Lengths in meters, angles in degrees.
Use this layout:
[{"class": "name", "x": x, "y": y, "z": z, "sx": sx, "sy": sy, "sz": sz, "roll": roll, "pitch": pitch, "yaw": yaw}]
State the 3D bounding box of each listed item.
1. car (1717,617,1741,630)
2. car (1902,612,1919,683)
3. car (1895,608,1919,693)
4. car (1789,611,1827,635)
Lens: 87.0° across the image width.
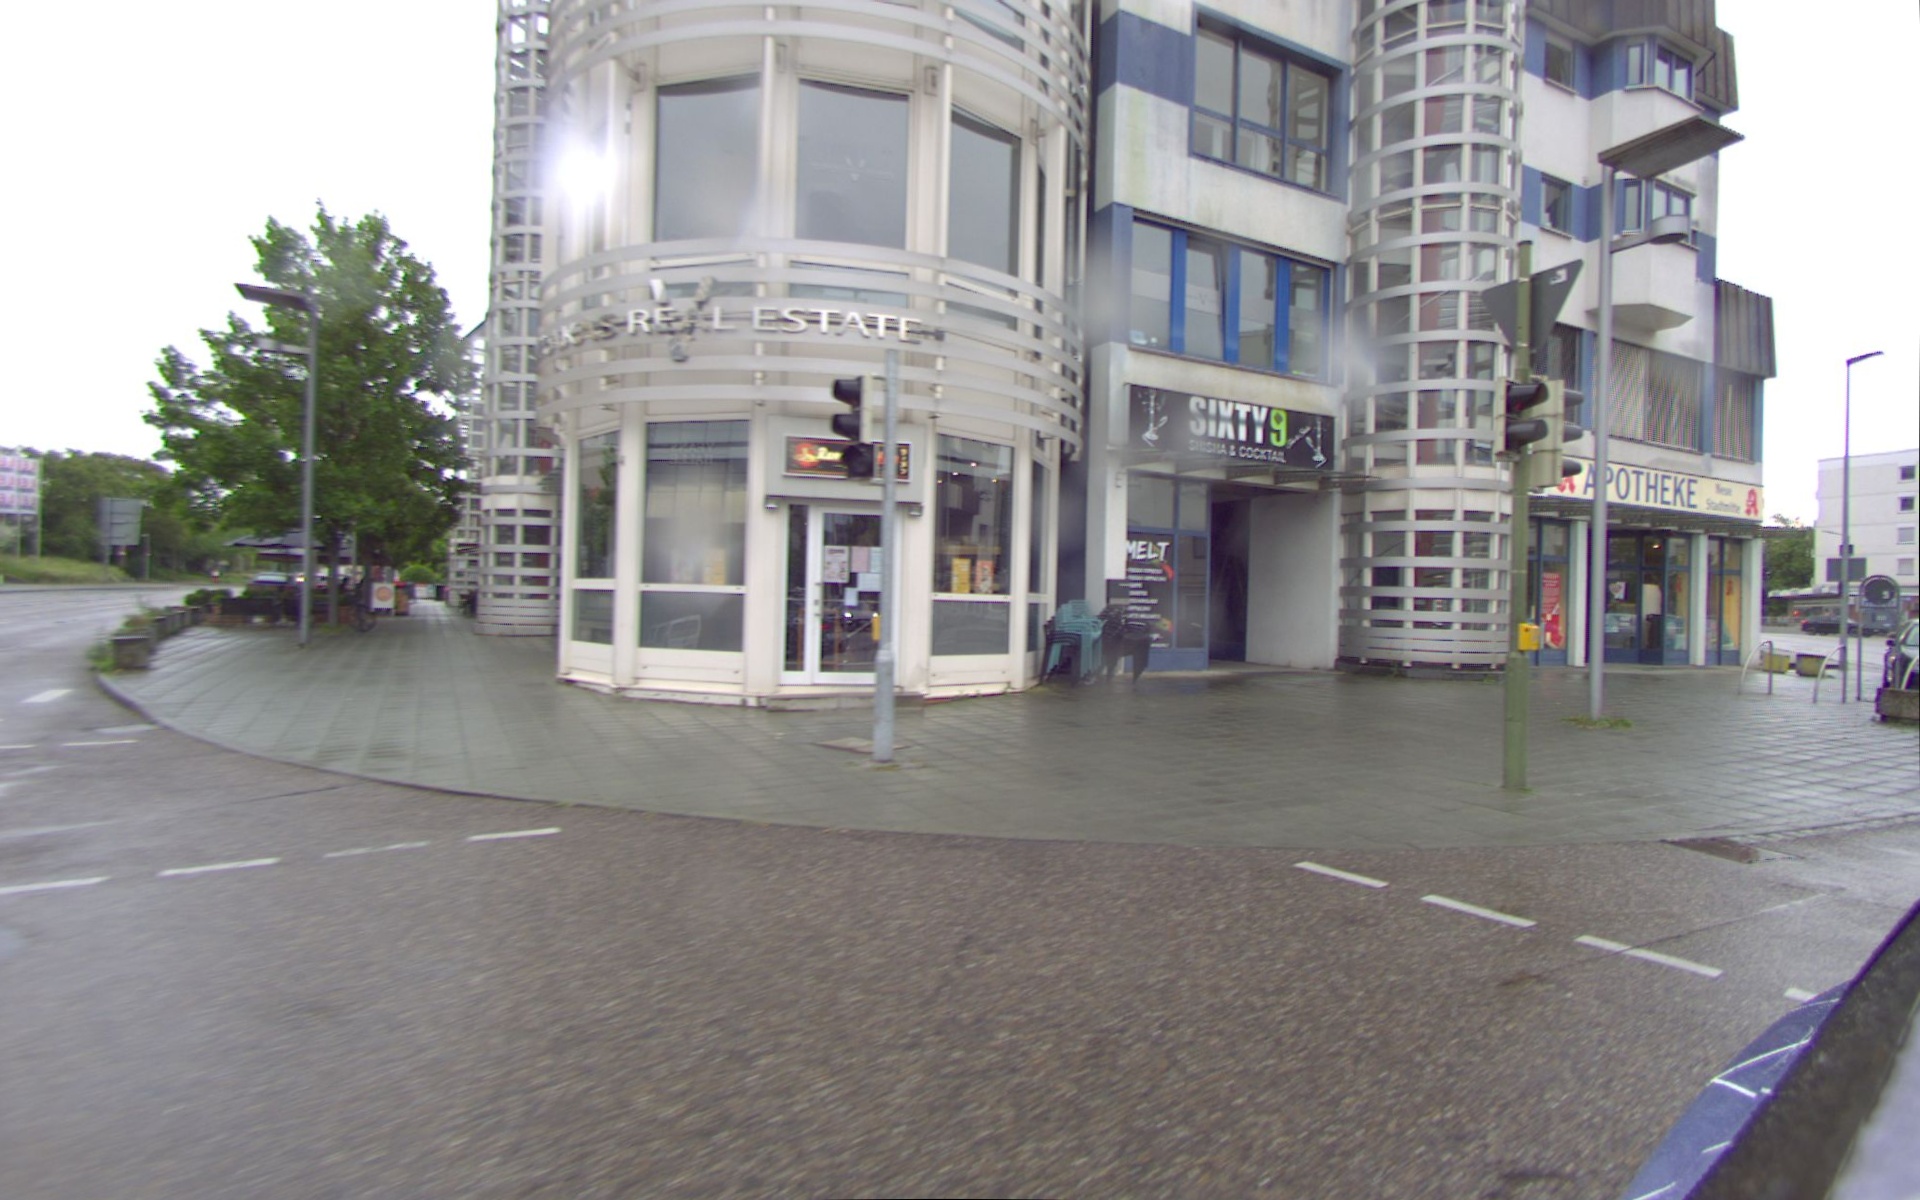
[{"class": "car", "x": 93.594, "y": 2.860, "z": 123.203, "sx": 1.858, "sy": 1.455, "sz": 3.698, "roll": 1, "pitch": 1, "yaw": 32}, {"class": "car", "x": 21.752, "y": 1.019, "z": 21.969, "sx": 1.652, "sy": 1.442, "sz": 3.942, "roll": 1, "pitch": 0, "yaw": 39}, {"class": "car", "x": 17.578, "y": 0.889, "z": 17.605, "sx": 1.648, "sy": 1.389, "sz": 3.678, "roll": 4, "pitch": 2, "yaw": 39}, {"class": "car", "x": 63.640, "y": 1.676, "z": 75.990, "sx": 1.733, "sy": 1.660, "sz": 3.952, "roll": 1, "pitch": 1, "yaw": 33}]
